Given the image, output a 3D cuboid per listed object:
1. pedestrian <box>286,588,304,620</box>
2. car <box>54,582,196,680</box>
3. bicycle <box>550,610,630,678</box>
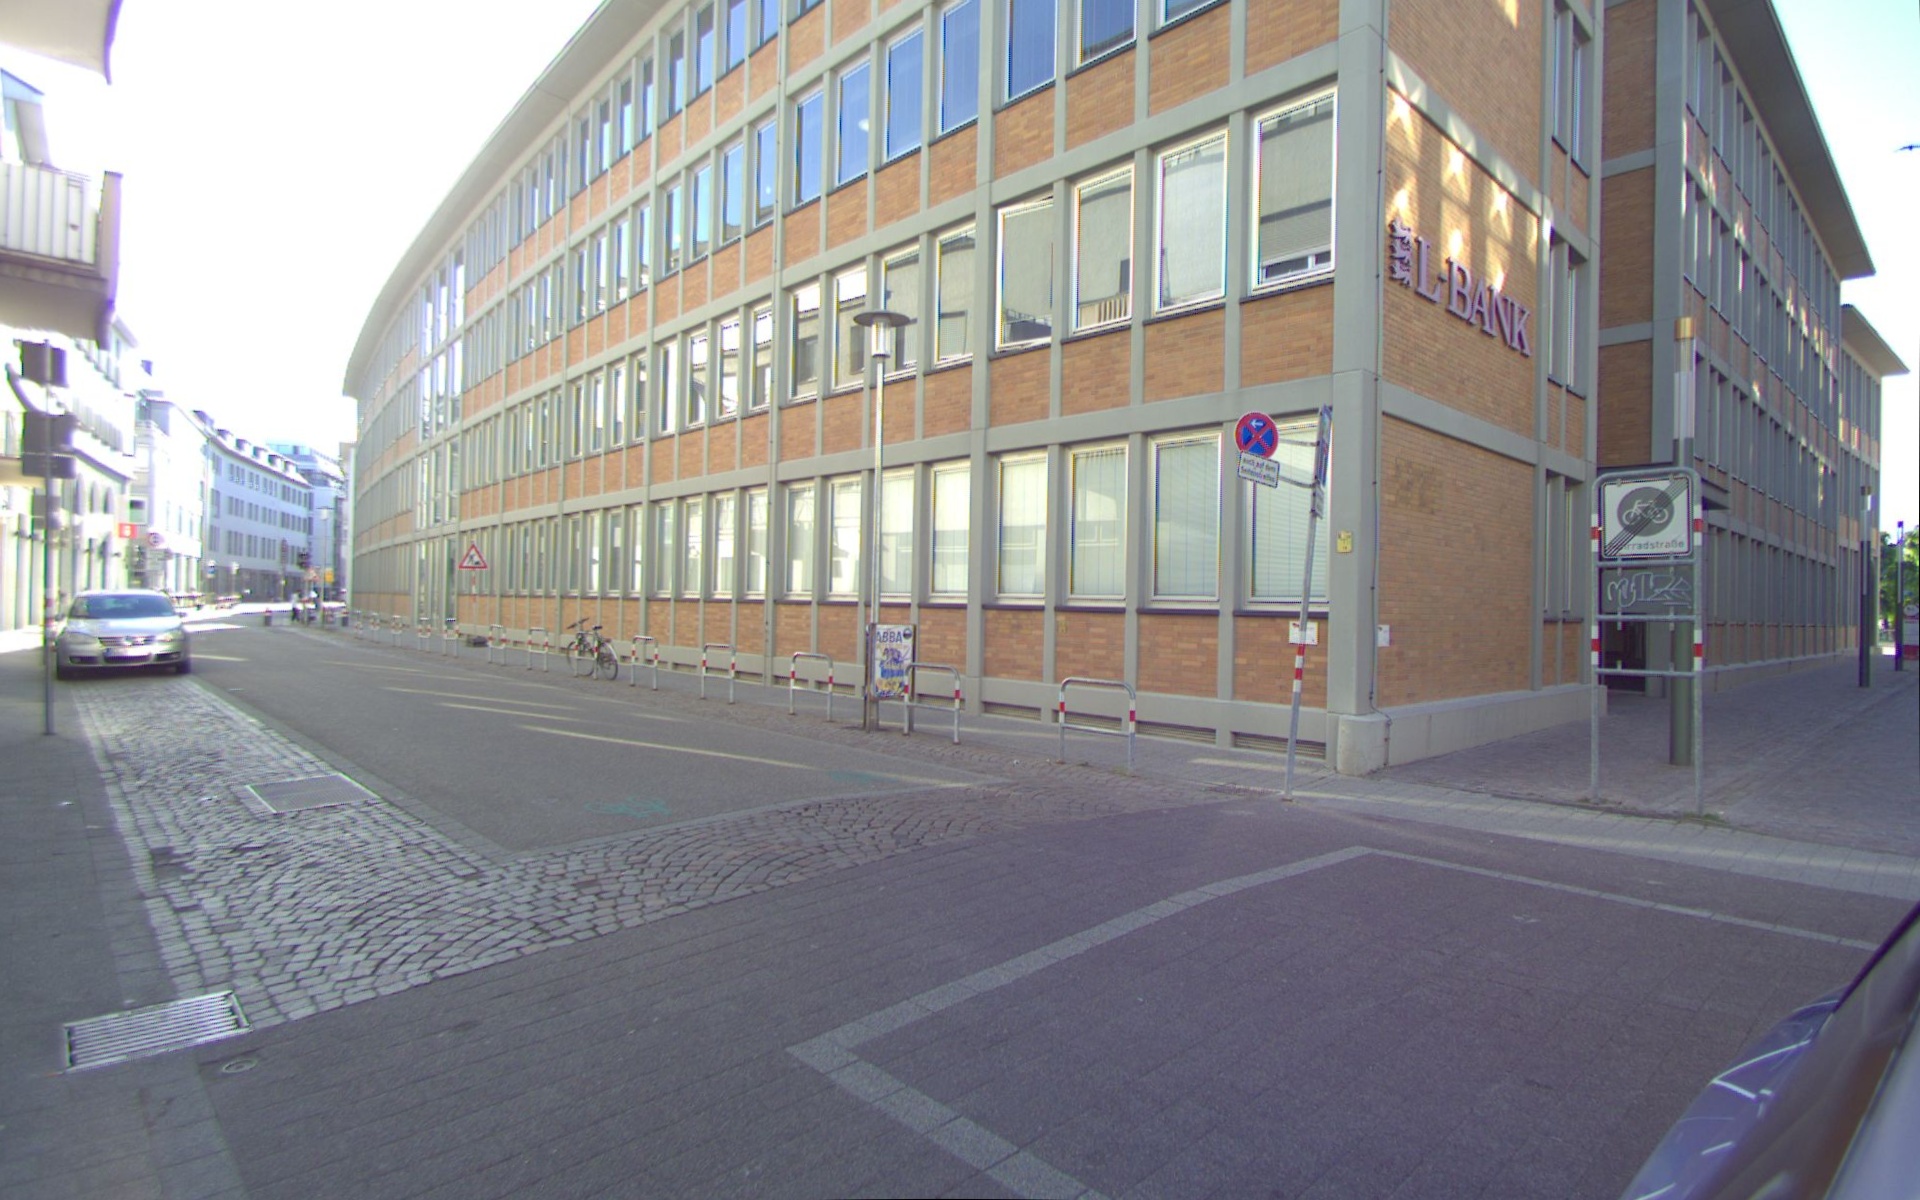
[{"bbox_3d":[-31.103,0.191,47.337,0.648,1.459,0.595,1,0,-41],"label":"pedestrian"},{"bbox_3d":[-14.611,0.444,17.645,1.741,1.488,3.806,-1,2,-42],"label":"car"},{"bbox_3d":[-6.680,0.767,18.227,0.627,1.130,1.926,1,0,-43],"label":"bicycle"}]
